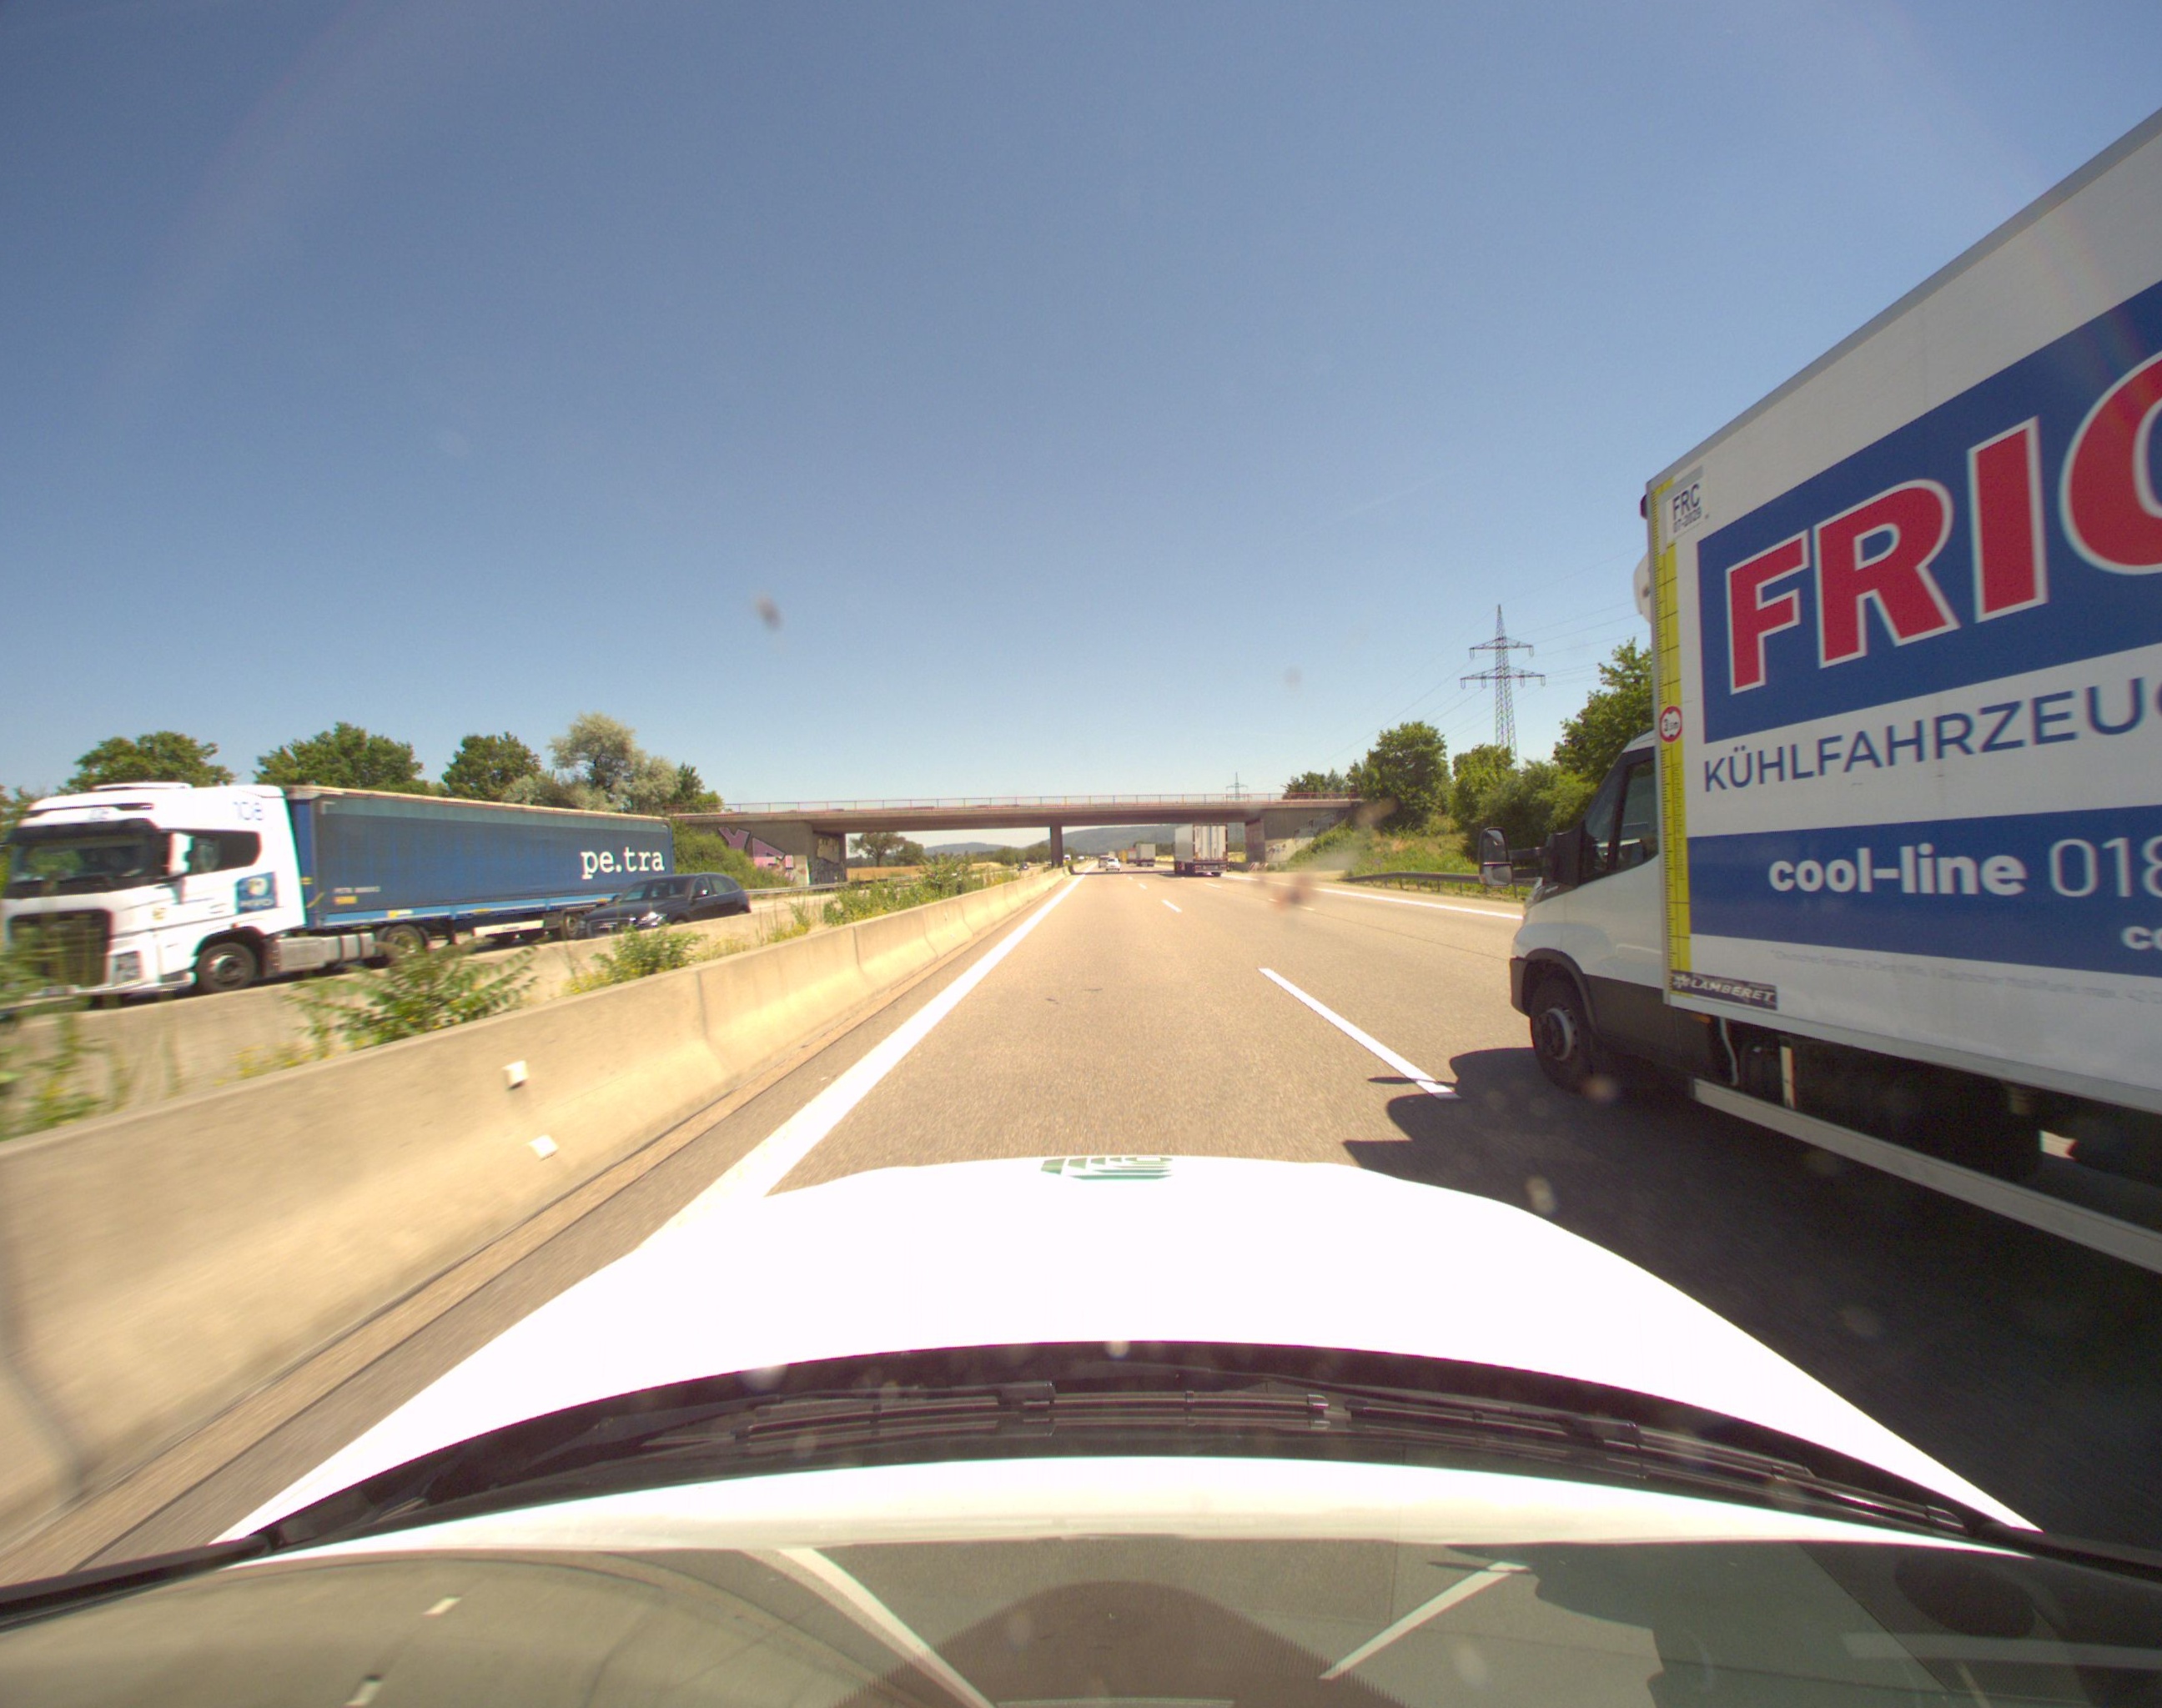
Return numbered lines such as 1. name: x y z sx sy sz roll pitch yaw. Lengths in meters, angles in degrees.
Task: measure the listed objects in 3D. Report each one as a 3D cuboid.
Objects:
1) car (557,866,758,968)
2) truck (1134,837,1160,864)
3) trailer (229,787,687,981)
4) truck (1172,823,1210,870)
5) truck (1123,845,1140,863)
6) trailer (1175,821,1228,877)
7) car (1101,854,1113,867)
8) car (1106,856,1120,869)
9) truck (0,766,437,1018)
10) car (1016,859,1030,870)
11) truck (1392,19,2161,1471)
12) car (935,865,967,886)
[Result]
1. car: -8.708 1.208 17.222 1.901 1.737 4.124 -3 0 2
2. truck: 11.610 -0.546 144.343 3.508 4.416 14.595 -3 0 1
3. trailer: -16.449 0.645 23.925 2.824 3.938 13.225 -4 0 1
4. truck: 10.055 -0.649 75.077 2.784 4.164 5.725 -1 0 2
5. truck: 12.993 -0.034 211.211 3.508 4.416 14.595 -3 0 1
6. trailer: 9.848 -0.374 68.050 2.784 4.164 13.961 -1 0 2
7. car: 4.138 1.026 129.642 1.754 1.850 4.003 -2 0 2
8. car: 3.856 0.985 98.419 1.601 1.467 4.003 -2 0 2
9. truck: -16.655 0.636 16.143 2.824 3.938 5.826 -4 0 1
10. car: -9.436 1.732 133.423 1.798 1.673 4.002 -3 0 2
11. truck: 3.913 -0.256 2.616 2.773 3.373 8.128 -1 0 1
12. car: -10.784 1.739 67.654 1.799 1.544 3.878 -4 0 2
